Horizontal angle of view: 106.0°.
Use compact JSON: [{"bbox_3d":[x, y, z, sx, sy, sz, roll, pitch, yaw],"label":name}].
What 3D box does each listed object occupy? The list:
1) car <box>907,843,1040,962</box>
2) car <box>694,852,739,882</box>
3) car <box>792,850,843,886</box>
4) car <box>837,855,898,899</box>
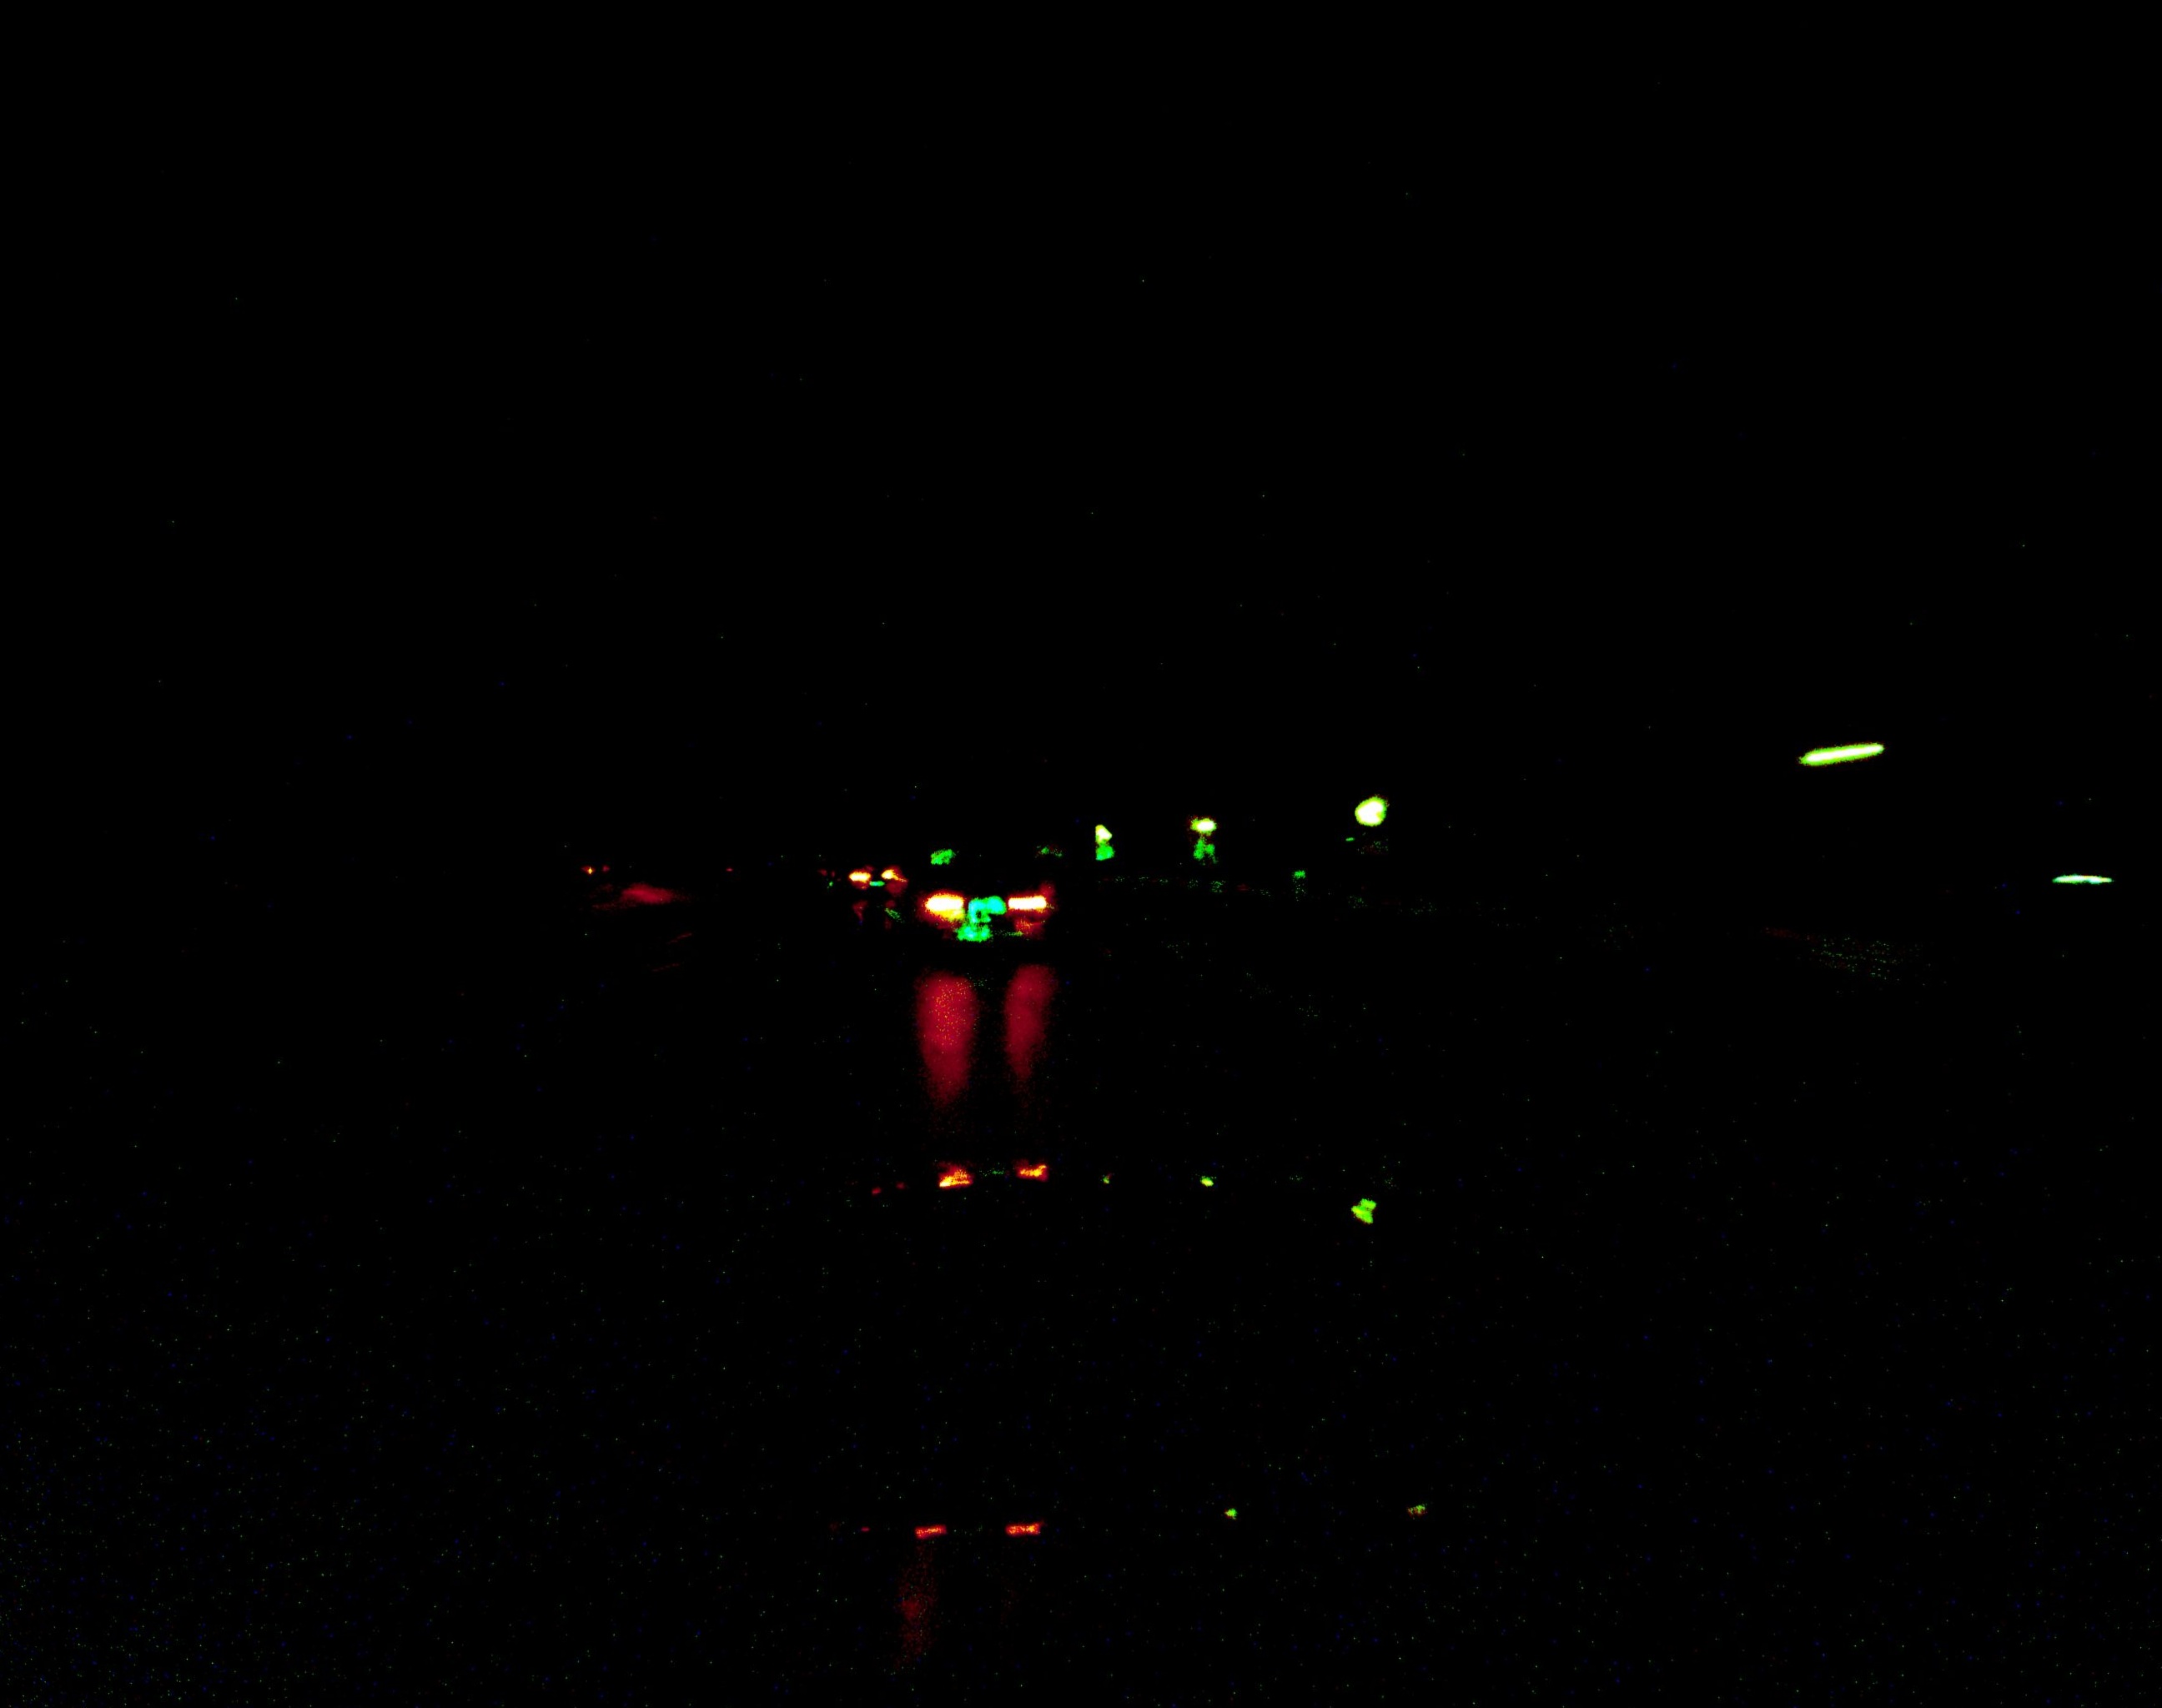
[{"bbox_3d":[-1.836,0.680,13.661,1.860,1.647,4.056,-1,0,-9],"label":"car"},{"bbox_3d":[-26.071,0.902,58.164,1.910,1.998,3.999,3,-1,-38],"label":"car"},{"bbox_3d":[-15.404,0.808,47.472,1.908,2.040,4.005,0,-1,-32],"label":"car"},{"bbox_3d":[-9.158,0.918,34.714,1.904,1.720,4.013,0,0,-24],"label":"car"}]
